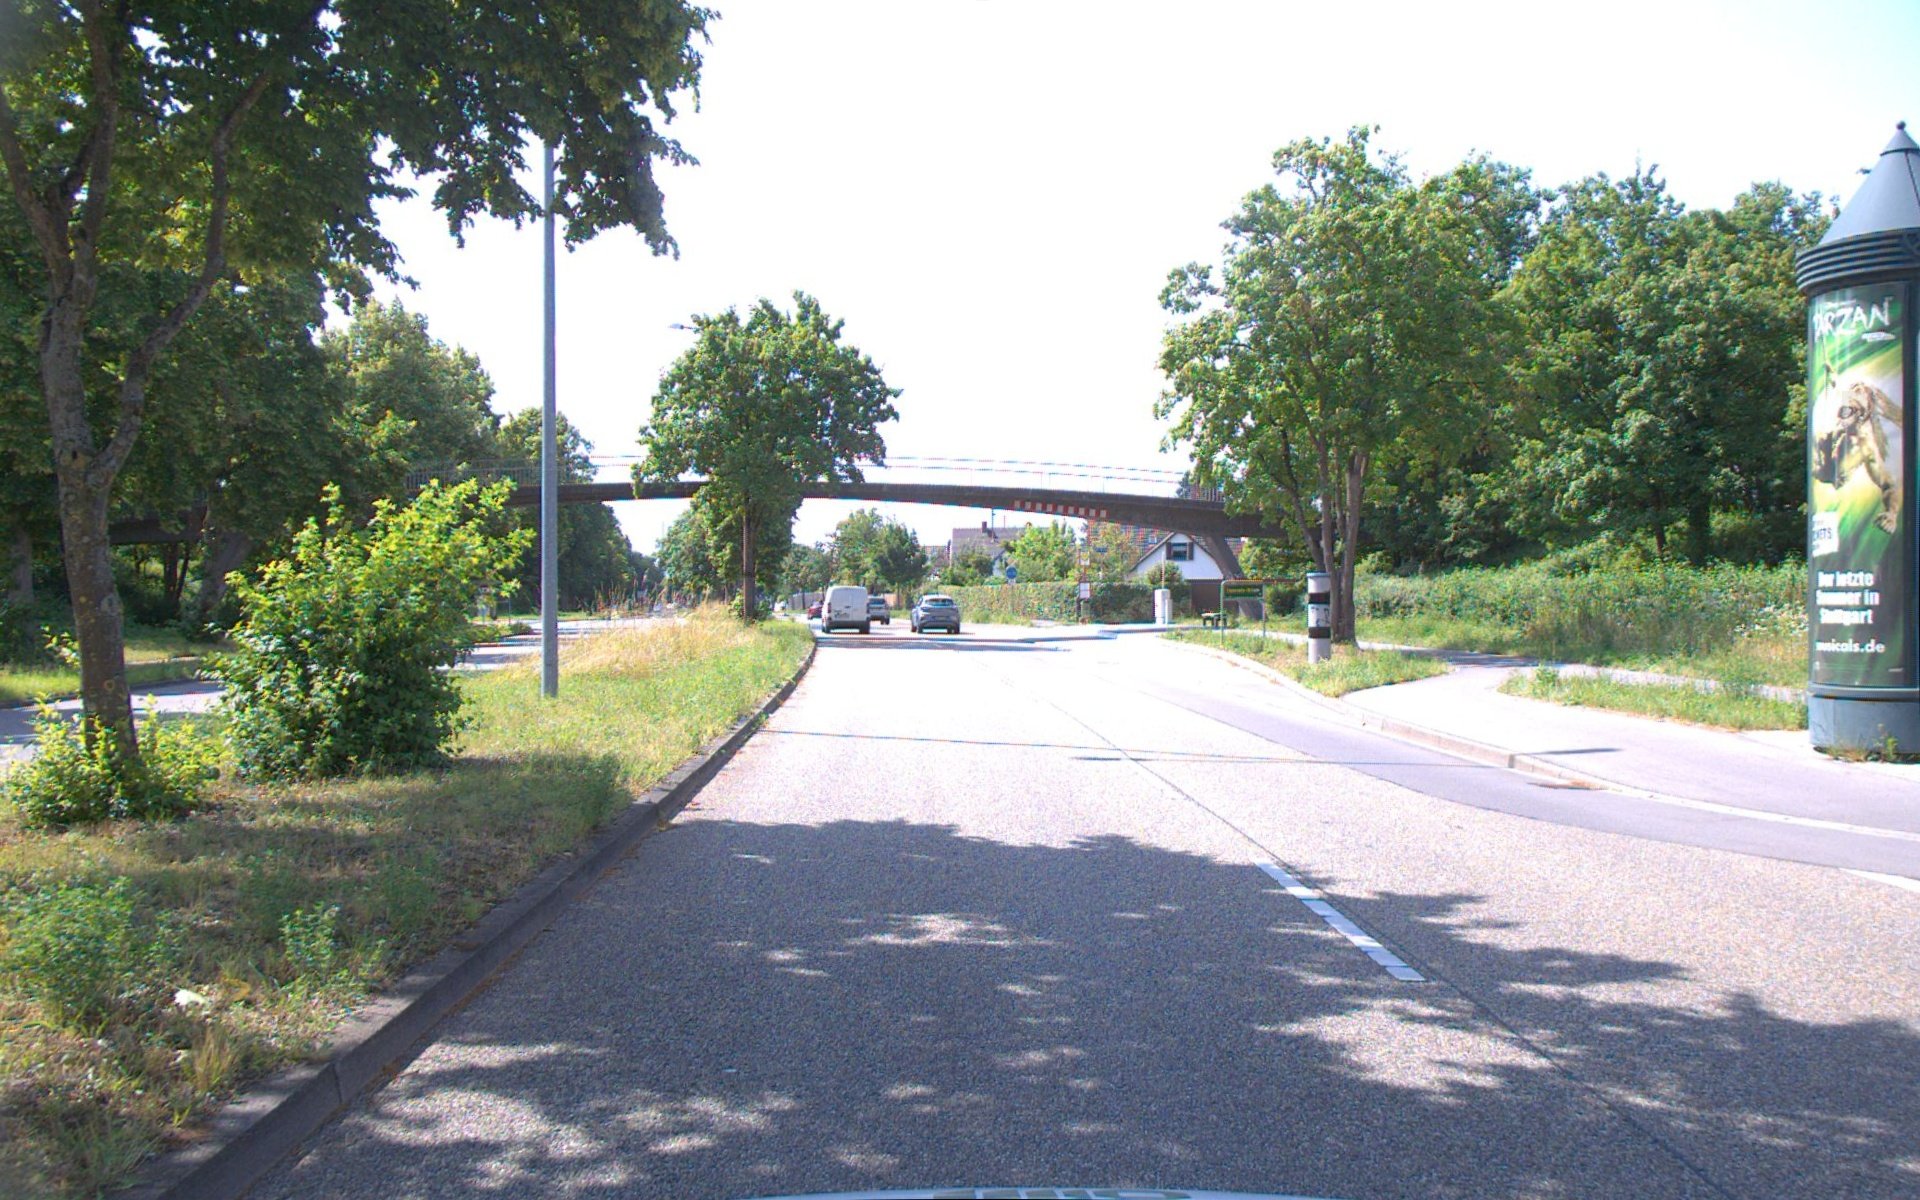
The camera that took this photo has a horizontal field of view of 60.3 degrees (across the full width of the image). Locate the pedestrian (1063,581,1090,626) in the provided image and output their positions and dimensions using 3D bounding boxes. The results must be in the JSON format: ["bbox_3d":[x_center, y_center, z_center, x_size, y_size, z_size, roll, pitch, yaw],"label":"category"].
[{"bbox_3d":[5.097,0.159,72.276,0.936,1.856,1.086,-2,-2,-7],"label":"pedestrian"}]

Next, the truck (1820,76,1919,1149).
[{"bbox_3d":[3.803,0.065,1.005,2.219,2.931,8.026,1,0,-1],"label":"truck"}]

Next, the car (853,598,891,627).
[{"bbox_3d":[-5.268,0.733,98.271,1.841,1.681,3.991,0,0,-10],"label":"car"}]

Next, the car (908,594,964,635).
[{"bbox_3d":[-1.022,0.574,68.031,1.840,1.617,4.177,0,0,-7],"label":"car"}]

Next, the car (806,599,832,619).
[{"bbox_3d":[-11.556,0.712,135.268,1.846,1.615,3.990,0,0,-10],"label":"car"}]

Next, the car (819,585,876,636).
[{"bbox_3d":[-4.504,0.422,65.725,2.026,1.945,4.639,0,0,-7],"label":"car"}]
